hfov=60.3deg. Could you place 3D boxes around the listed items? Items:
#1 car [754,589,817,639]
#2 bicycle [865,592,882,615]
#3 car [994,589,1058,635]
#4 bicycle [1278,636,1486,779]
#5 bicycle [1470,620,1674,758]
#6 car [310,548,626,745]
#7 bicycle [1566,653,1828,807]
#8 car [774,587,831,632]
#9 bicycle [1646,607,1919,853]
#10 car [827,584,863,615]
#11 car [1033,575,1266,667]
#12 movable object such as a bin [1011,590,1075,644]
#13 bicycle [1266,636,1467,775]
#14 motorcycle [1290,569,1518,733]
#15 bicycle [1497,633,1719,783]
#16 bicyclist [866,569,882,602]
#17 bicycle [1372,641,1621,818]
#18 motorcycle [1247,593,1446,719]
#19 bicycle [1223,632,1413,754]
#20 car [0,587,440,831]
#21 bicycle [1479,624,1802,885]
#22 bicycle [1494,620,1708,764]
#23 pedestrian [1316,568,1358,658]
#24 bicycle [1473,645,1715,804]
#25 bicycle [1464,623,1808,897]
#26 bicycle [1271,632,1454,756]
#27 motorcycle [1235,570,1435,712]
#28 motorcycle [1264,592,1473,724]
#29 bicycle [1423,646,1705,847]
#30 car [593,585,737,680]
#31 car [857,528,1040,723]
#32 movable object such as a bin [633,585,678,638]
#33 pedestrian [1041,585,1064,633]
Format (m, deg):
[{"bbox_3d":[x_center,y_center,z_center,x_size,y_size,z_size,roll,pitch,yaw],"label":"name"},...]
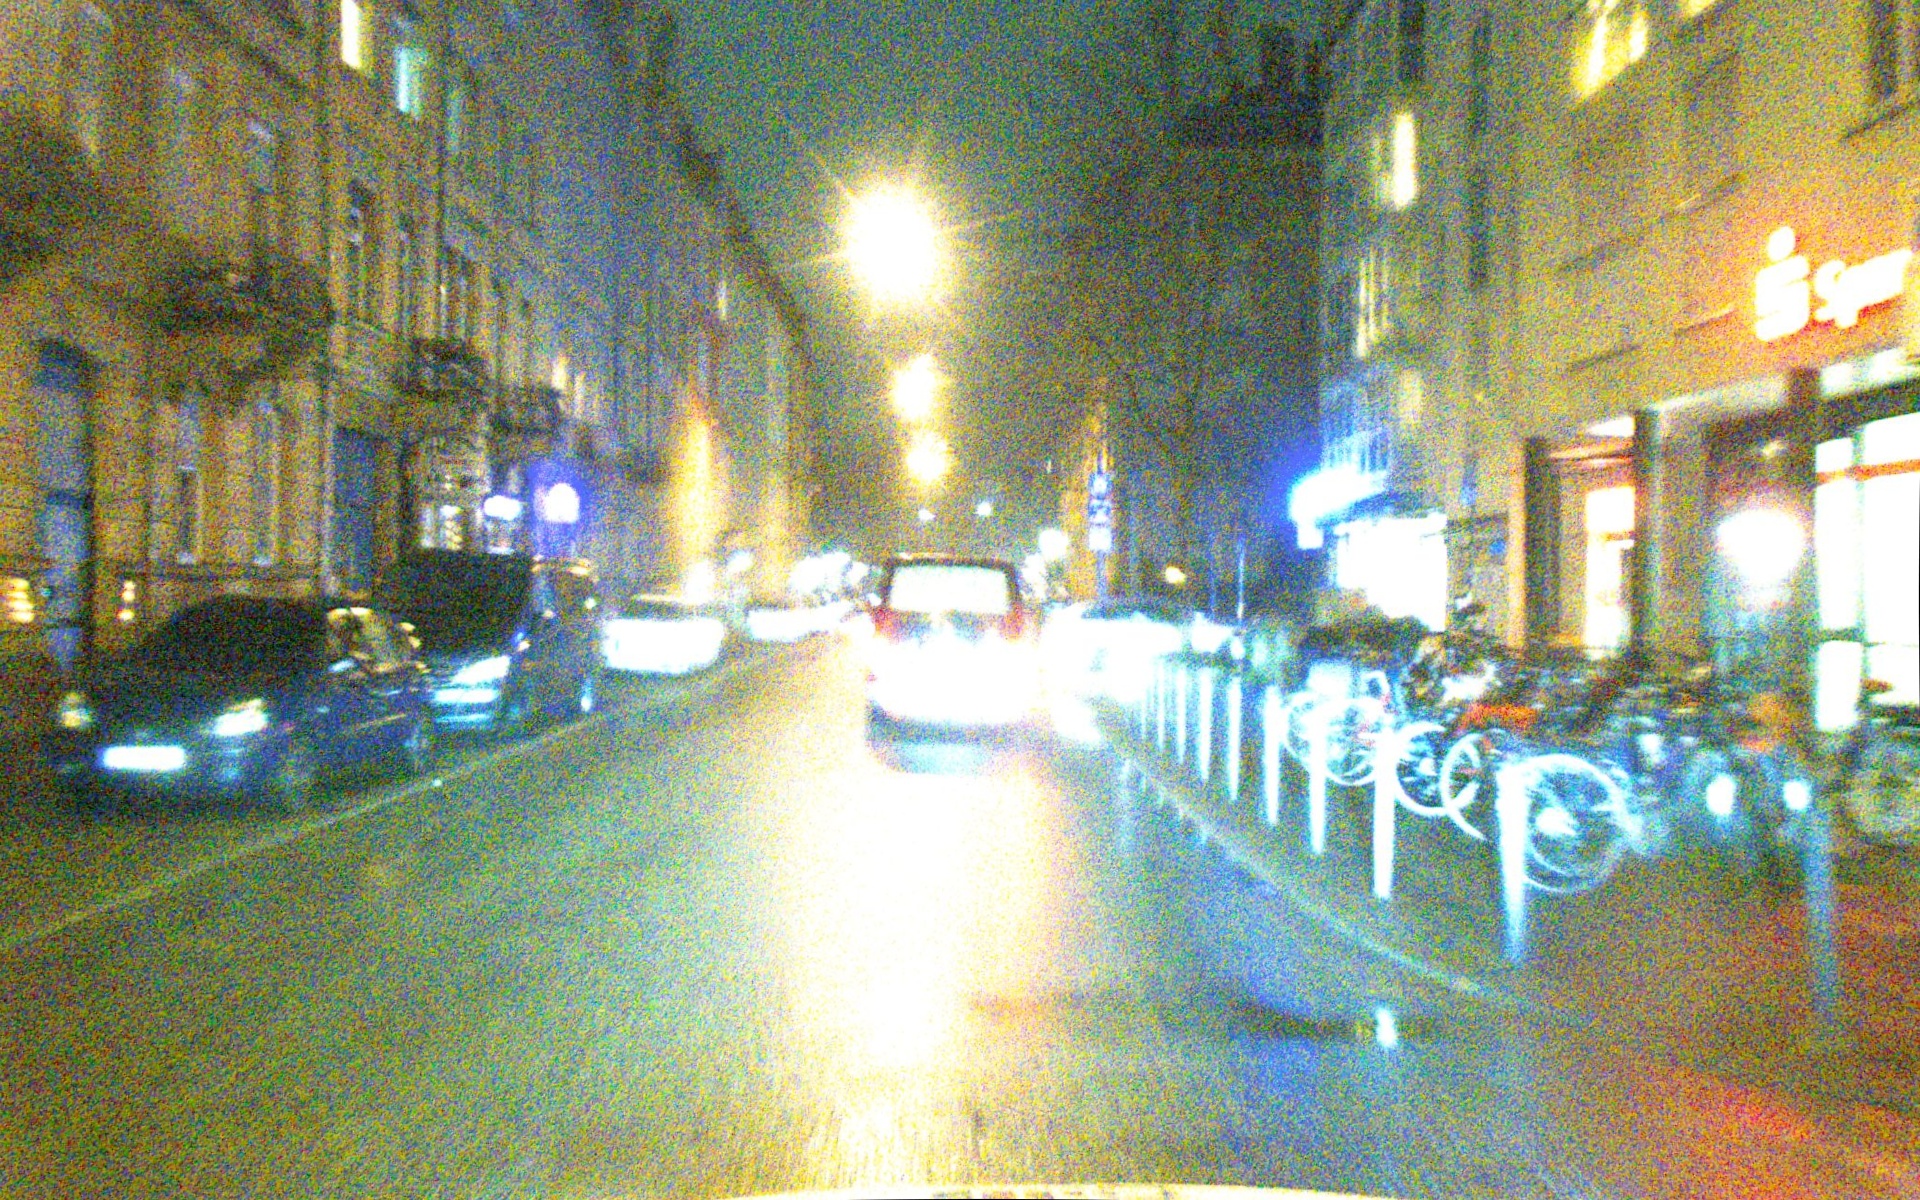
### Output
[{"bbox_3d":[-5.578,0.415,53.242,1.638,1.517,3.721,1,0,-1],"label":"car"},{"bbox_3d":[-4.184,0.170,80.120,0.712,1.091,2.348,-1,0,-1],"label":"bicycle"},{"bbox_3d":[2.223,0.373,56.460,1.953,1.489,4.416,0,0,-1],"label":"car"},{"bbox_3d":[3.365,0.848,13.226,1.499,0.968,0.366,-6,-1,-5],"label":"bicycle"},{"bbox_3d":[5.060,0.727,13.698,1.499,0.968,0.366,-6,-1,-5],"label":"bicycle"},{"bbox_3d":[-5.197,0.418,18.316,1.955,1.861,5.206,0,1,0],"label":"car"},{"bbox_3d":[4.854,0.855,10.931,1.497,0.848,0.325,-6,-1,3],"label":"bicycle"},{"bbox_3d":[-5.727,0.331,60.610,1.738,1.599,4.134,0,0,-1],"label":"car"},{"bbox_3d":[4.782,0.725,9.427,1.498,1.223,0.366,-6,-1,-2],"label":"bicycle"},{"bbox_3d":[-6.683,-0.069,96.495,1.795,1.747,4.594,0,0,-1],"label":"car"},{"bbox_3d":[3.785,0.409,33.520,4.421,1.557,1.780,-3,0,-2],"label":"car"},{"bbox_3d":[2.302,0.462,45.924,1.327,1.454,1.185,0,0,-37],"label":"movable object such as a bin"},{"bbox_3d":[3.349,0.862,13.654,1.499,0.968,0.366,-6,-1,-5],"label":"bicycle"},{"bbox_3d":[4.749,0.536,17.805,2.129,1.574,0.866,-4,0,-1],"label":"motorcycle"},{"bbox_3d":[4.948,0.815,12.651,1.499,0.968,0.366,-6,-1,-5],"label":"bicycle"},{"bbox_3d":[-4.162,-0.688,80.105,0.704,1.583,0.895,-1,0,-1],"label":"bicyclist"},{"bbox_3d":[3.670,0.881,11.361,1.497,1.041,0.366,-6,-1,3],"label":"bicycle"},{"bbox_3d":[4.666,0.659,20.072,2.129,1.341,0.866,-4,0,-1],"label":"motorcycle"},{"bbox_3d":[3.346,0.871,15.547,1.635,0.968,0.366,-6,-1,6],"label":"bicycle"},{"bbox_3d":[-5.138,0.659,12.039,1.537,1.485,3.720,0,1,0],"label":"car"},{"bbox_3d":[3.655,0.817,8.923,1.498,1.223,0.366,-6,-1,-2],"label":"bicycle"},{"bbox_3d":[5.076,0.719,13.111,1.500,0.968,0.366,-6,-1,-6],"label":"bicycle"},{"bbox_3d":[7.816,0.255,34.301,0.688,1.819,0.624,-2,1,2],"label":"pedestrian"},{"bbox_3d":[4.519,0.881,11.825,1.497,0.968,0.366,-6,-1,3],"label":"bicycle"},{"bbox_3d":[3.441,0.807,8.468,1.497,1.223,0.366,-6,-1,2],"label":"bicycle"},{"bbox_3d":[3.632,0.848,14.998,1.496,0.968,0.366,-6,-1,6],"label":"bicycle"},{"bbox_3d":[4.743,0.507,21.017,2.242,1.615,0.866,-4,0,-1],"label":"motorcycle"},{"bbox_3d":[4.704,0.652,19.141,2.129,1.341,0.866,-4,0,-1],"label":"motorcycle"},{"bbox_3d":[3.657,0.878,10.055,1.498,1.041,0.366,-6,-1,-2],"label":"bicycle"},{"bbox_3d":[-5.354,0.540,30.607,1.731,1.508,4.772,3,1,0],"label":"car"},{"bbox_3d":[-0.133,0.249,20.023,1.955,2.084,4.694,0,1,0],"label":"car"},{"bbox_3d":[-8.611,0.320,46.829,1.079,1.479,1.378,-1,0,-3],"label":"movable object such as a bin"},{"bbox_3d":[3.573,0.344,64.038,0.844,1.819,1.083,-2,1,2],"label":"pedestrian"}]
